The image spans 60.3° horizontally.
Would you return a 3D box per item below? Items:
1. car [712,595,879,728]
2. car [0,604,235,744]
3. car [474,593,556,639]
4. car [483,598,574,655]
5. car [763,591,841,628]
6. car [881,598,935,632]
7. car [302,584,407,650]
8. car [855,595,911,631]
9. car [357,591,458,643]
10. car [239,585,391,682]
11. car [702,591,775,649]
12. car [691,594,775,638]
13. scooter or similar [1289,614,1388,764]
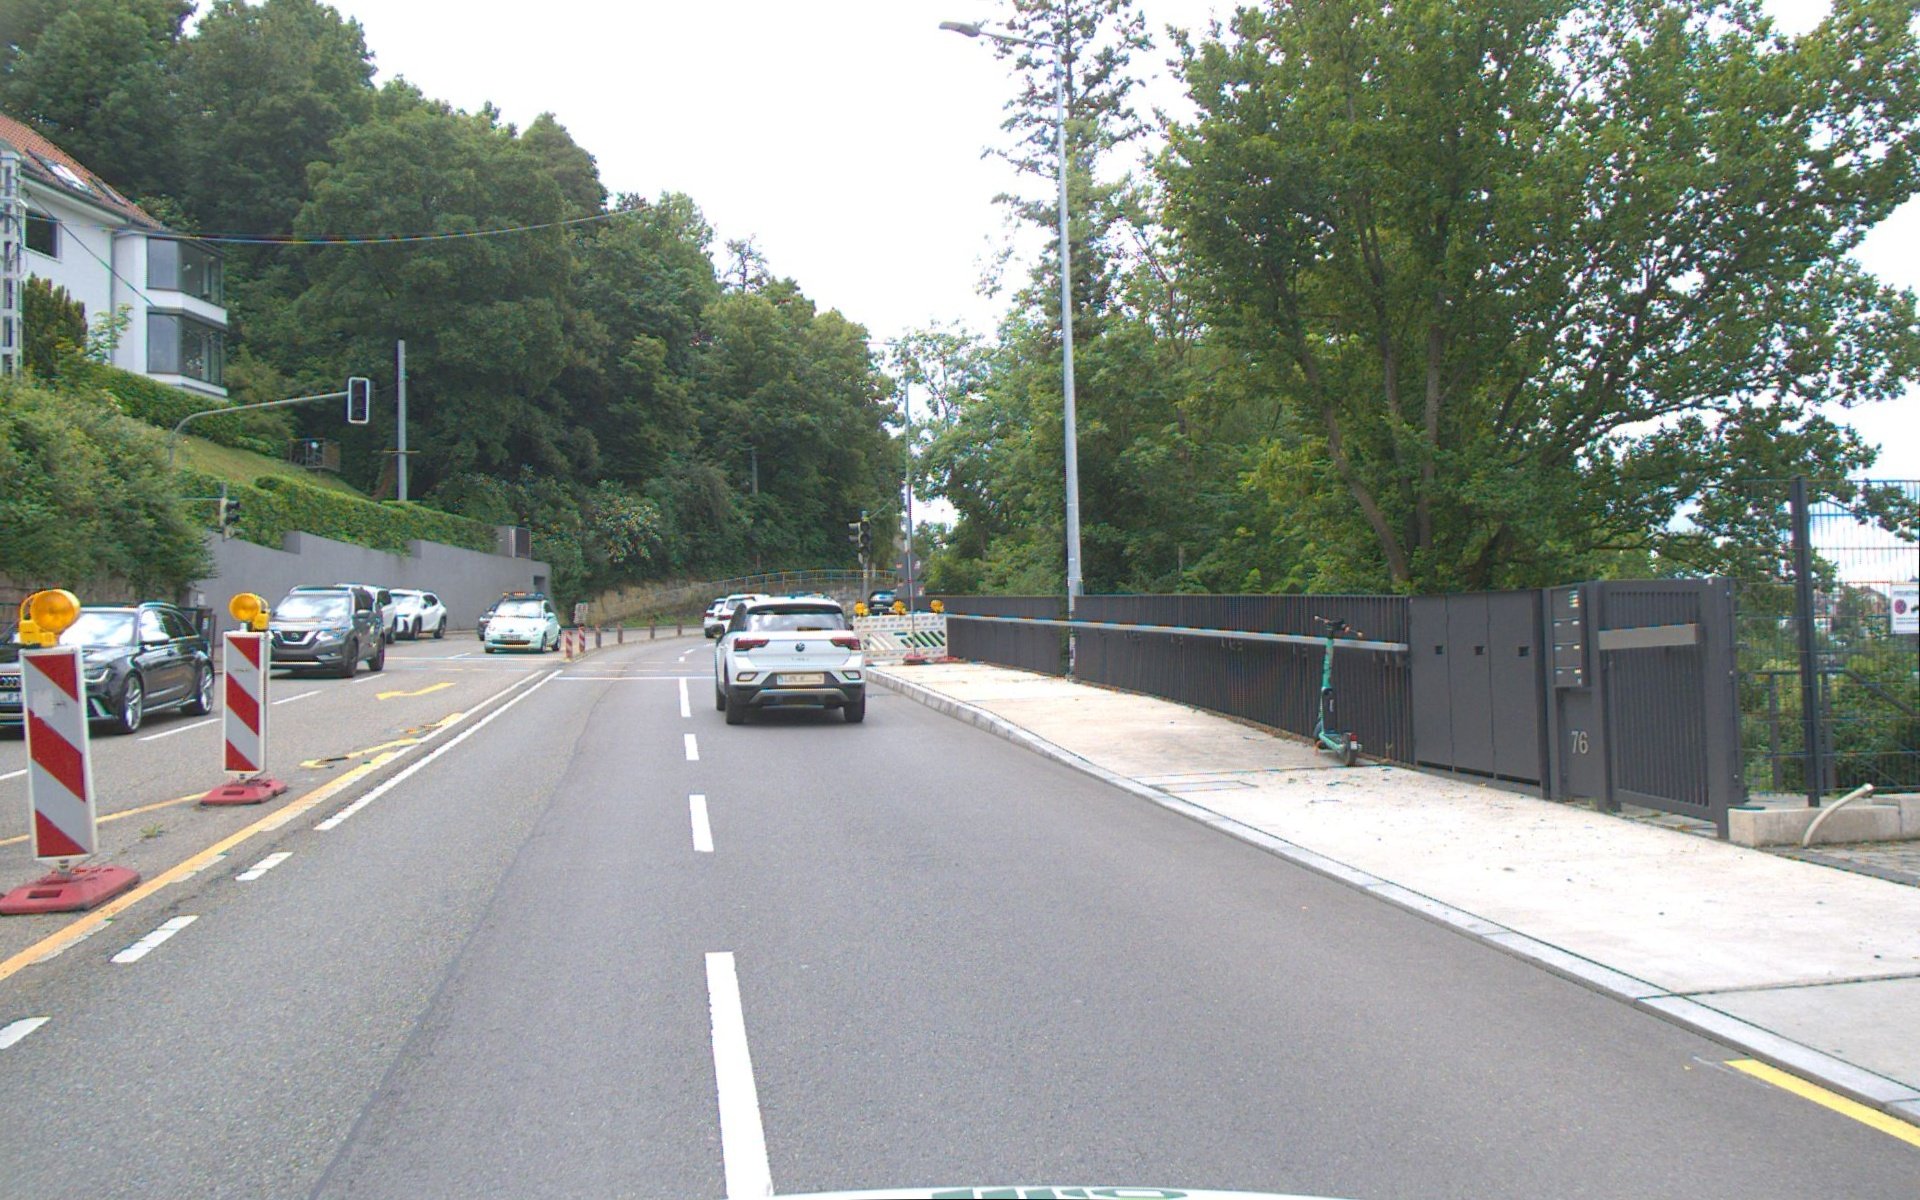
[{"bbox_3d":[-2.244,0.727,21.703,1.834,1.563,3.793,0,0,-11],"label":"car"},{"bbox_3d":[-10.346,0.793,19.979,1.777,1.455,4.863,0,0,-10],"label":"car"},{"bbox_3d":[-15.178,0.537,56.580,1.675,1.492,3.662,1,0,3],"label":"car"},{"bbox_3d":[-12.086,0.713,46.548,1.676,1.492,3.659,1,0,-2],"label":"car"},{"bbox_3d":[-6.939,0.431,73.079,1.952,1.568,4.011,1,-1,18],"label":"car"},{"bbox_3d":[-2.750,0.812,88.076,1.777,1.719,4.003,1,-1,14],"label":"car"},{"bbox_3d":[-17.607,0.472,48.273,1.824,1.761,4.753,2,0,-8],"label":"car"},{"bbox_3d":[-3.830,0.658,82.738,1.777,1.719,4.003,1,-1,13],"label":"car"},{"bbox_3d":[-17.963,0.542,53.994,1.795,1.600,4.474,1,-1,-1],"label":"car"},{"bbox_3d":[-12.416,0.603,32.132,1.849,1.727,4.660,0,0,-10],"label":"car"},{"bbox_3d":[-6.525,0.587,49.060,1.955,1.614,3.995,1,-1,-5],"label":"car"},{"bbox_3d":[-8.627,0.622,63.111,1.866,1.601,4.003,1,-1,13],"label":"car"},{"bbox_3d":[3.396,0.774,14.919,0.524,1.248,1.205,-2,1,-4],"label":"scooter or similar"}]
